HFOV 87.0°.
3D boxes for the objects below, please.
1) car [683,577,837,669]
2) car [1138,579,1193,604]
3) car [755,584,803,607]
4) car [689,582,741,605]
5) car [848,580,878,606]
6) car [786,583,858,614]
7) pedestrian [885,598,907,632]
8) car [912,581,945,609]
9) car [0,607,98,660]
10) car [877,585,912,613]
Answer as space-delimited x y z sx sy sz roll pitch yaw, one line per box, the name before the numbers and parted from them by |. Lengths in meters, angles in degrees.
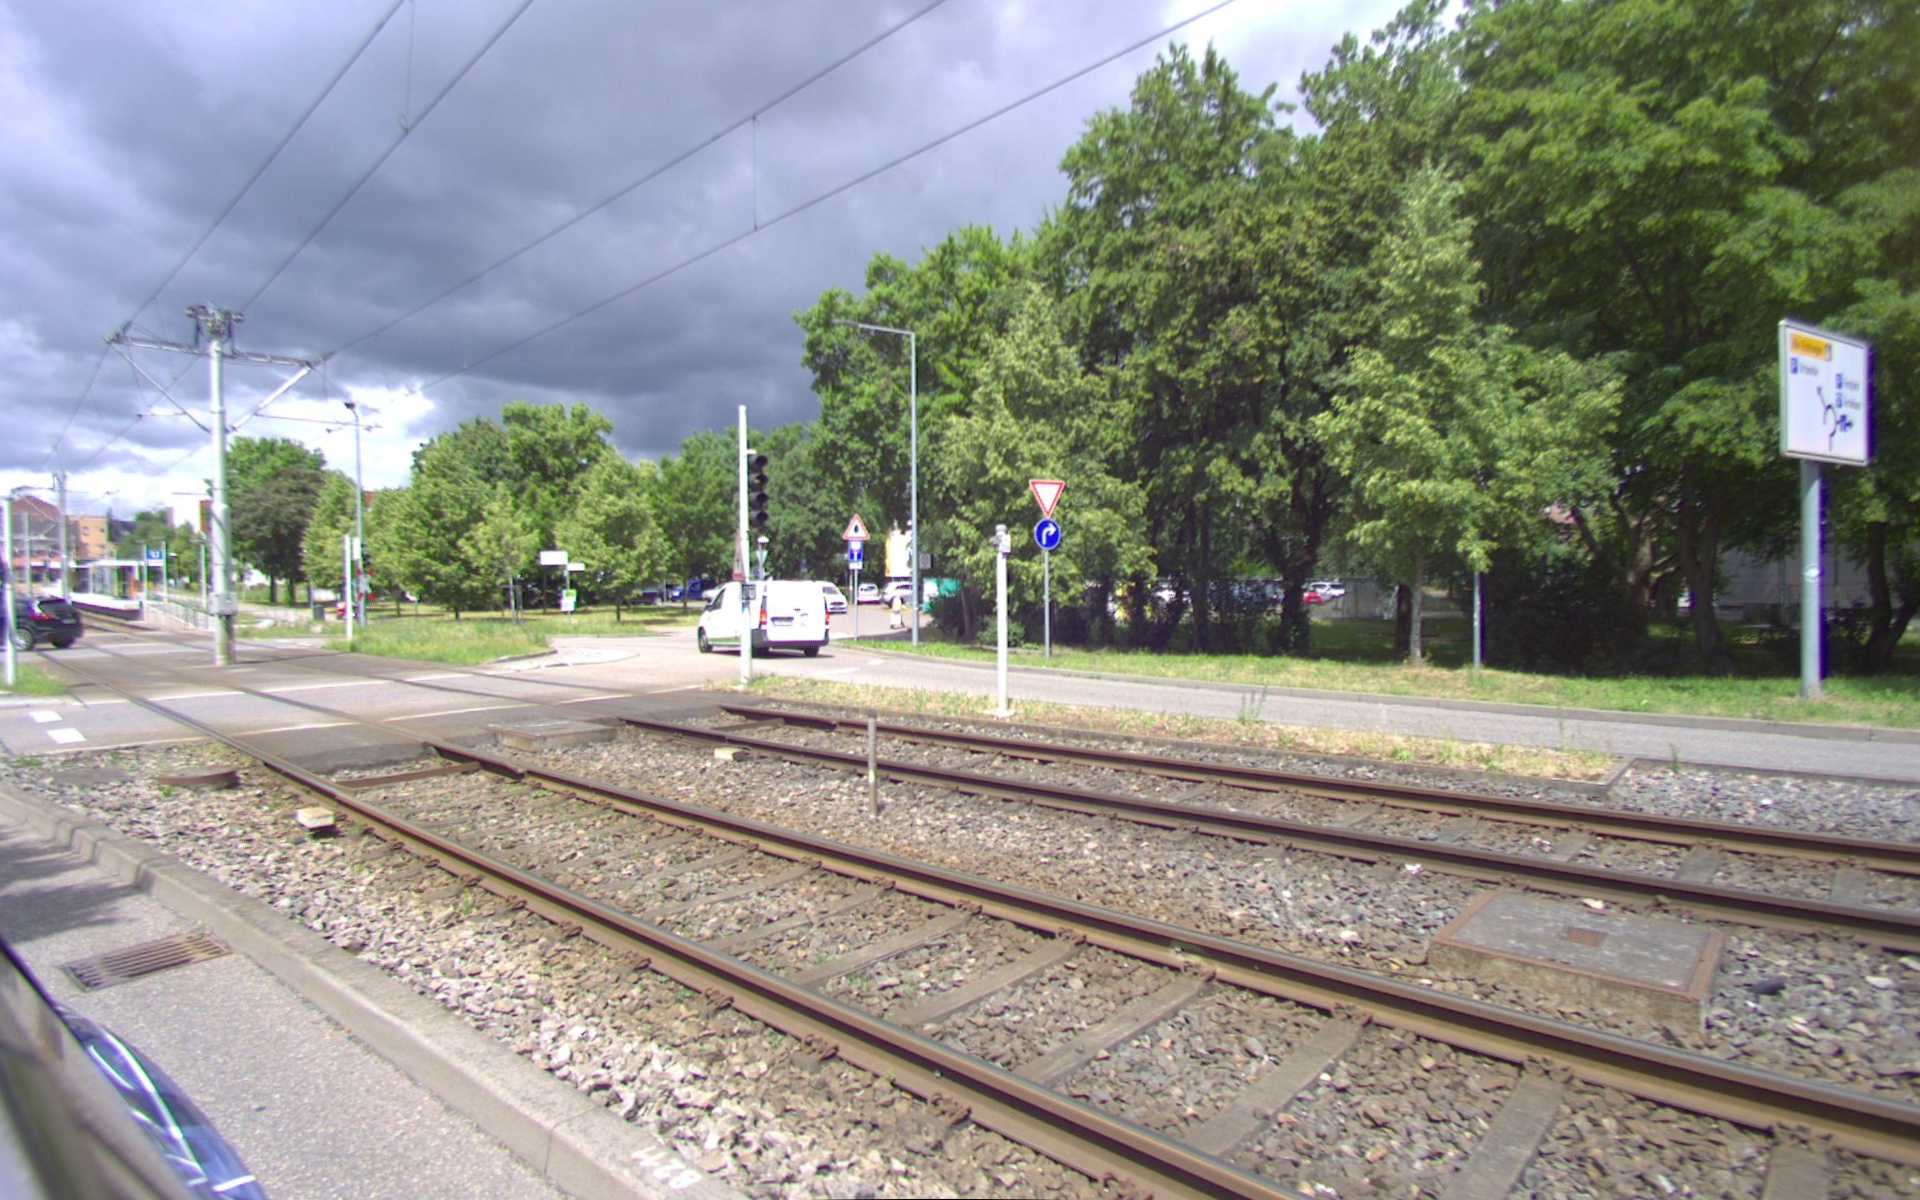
car | -5.225 0.461 25.834 1.850 2.033 5.249 -3 3 -35
car | 12.931 -0.549 63.848 1.729 1.430 4.012 -2 2 -15
car | -13.317 -0.319 74.724 1.621 1.602 3.585 0 0 28
car | -18.827 -0.509 77.618 3.892 1.652 1.576 0 3 32
car | -6.812 -0.488 70.682 1.969 1.696 4.006 -1 1 -6
car | -8.077 -0.120 59.052 4.349 1.702 1.719 0 3 41
pedestrian | -2.905 0.657 45.836 0.742 1.468 0.894 -1 2 11
car | -2.030 -0.325 65.479 1.972 1.601 3.584 0 3 1
car | -29.857 1.029 31.518 4.257 1.597 1.862 -1 0 -7
car | -4.172 -0.061 65.242 1.972 1.601 3.584 0 3 1
